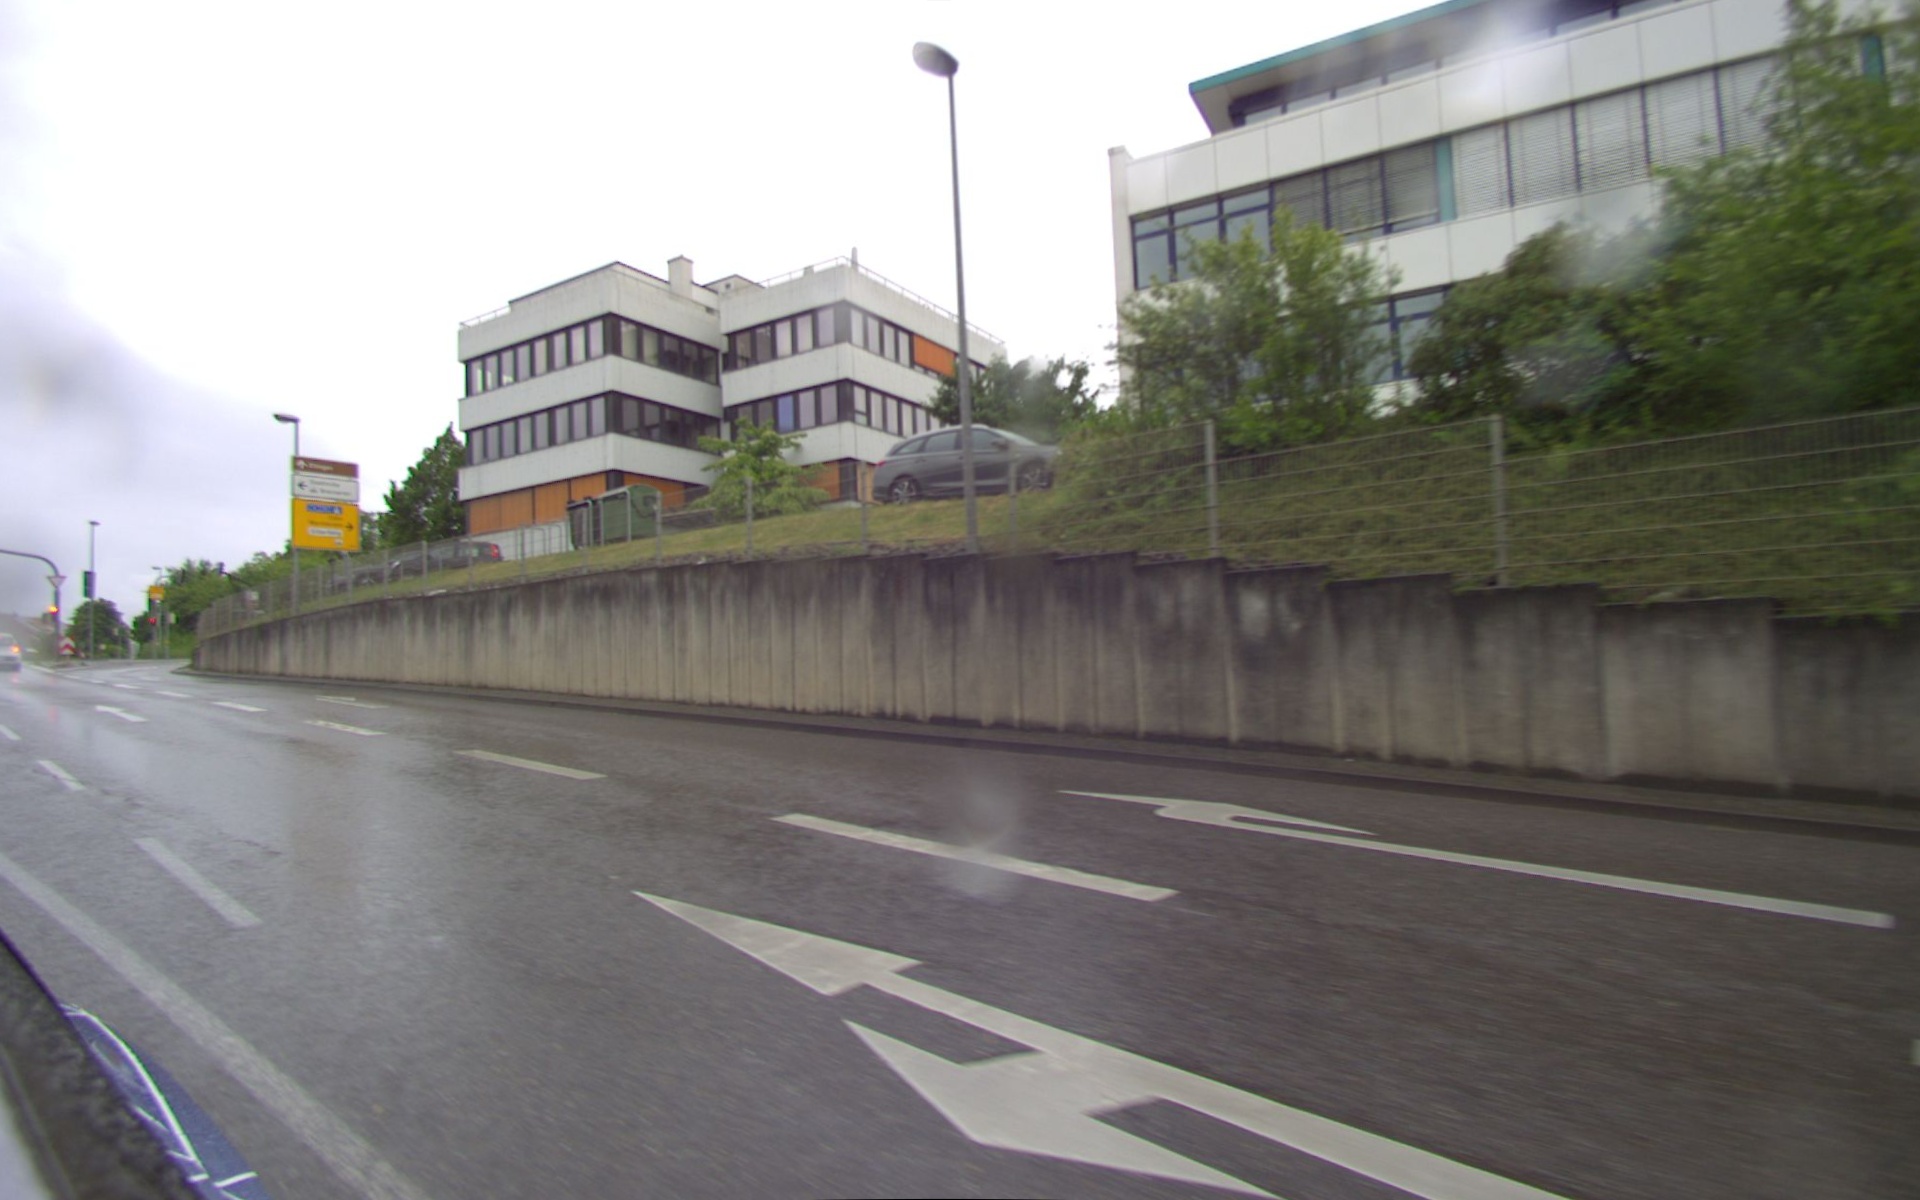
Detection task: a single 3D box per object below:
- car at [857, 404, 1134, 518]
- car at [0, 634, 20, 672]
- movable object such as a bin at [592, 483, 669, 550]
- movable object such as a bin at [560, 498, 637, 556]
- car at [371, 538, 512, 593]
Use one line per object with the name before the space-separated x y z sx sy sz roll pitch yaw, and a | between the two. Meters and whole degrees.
car | 0.539 -2.284 17.482 4.524 1.353 1.896 0 -1 36
car | -40.496 2.199 42.178 3.722 1.471 1.714 -1 -1 44
movable object such as a bin | -7.589 -1.895 23.327 1.217 1.357 1.228 -2 -2 40
movable object such as a bin | -8.637 -1.720 24.180 1.341 1.221 1.228 -2 -2 39
car | -17.033 -1.091 33.451 3.931 1.666 2.006 0 -1 -20
